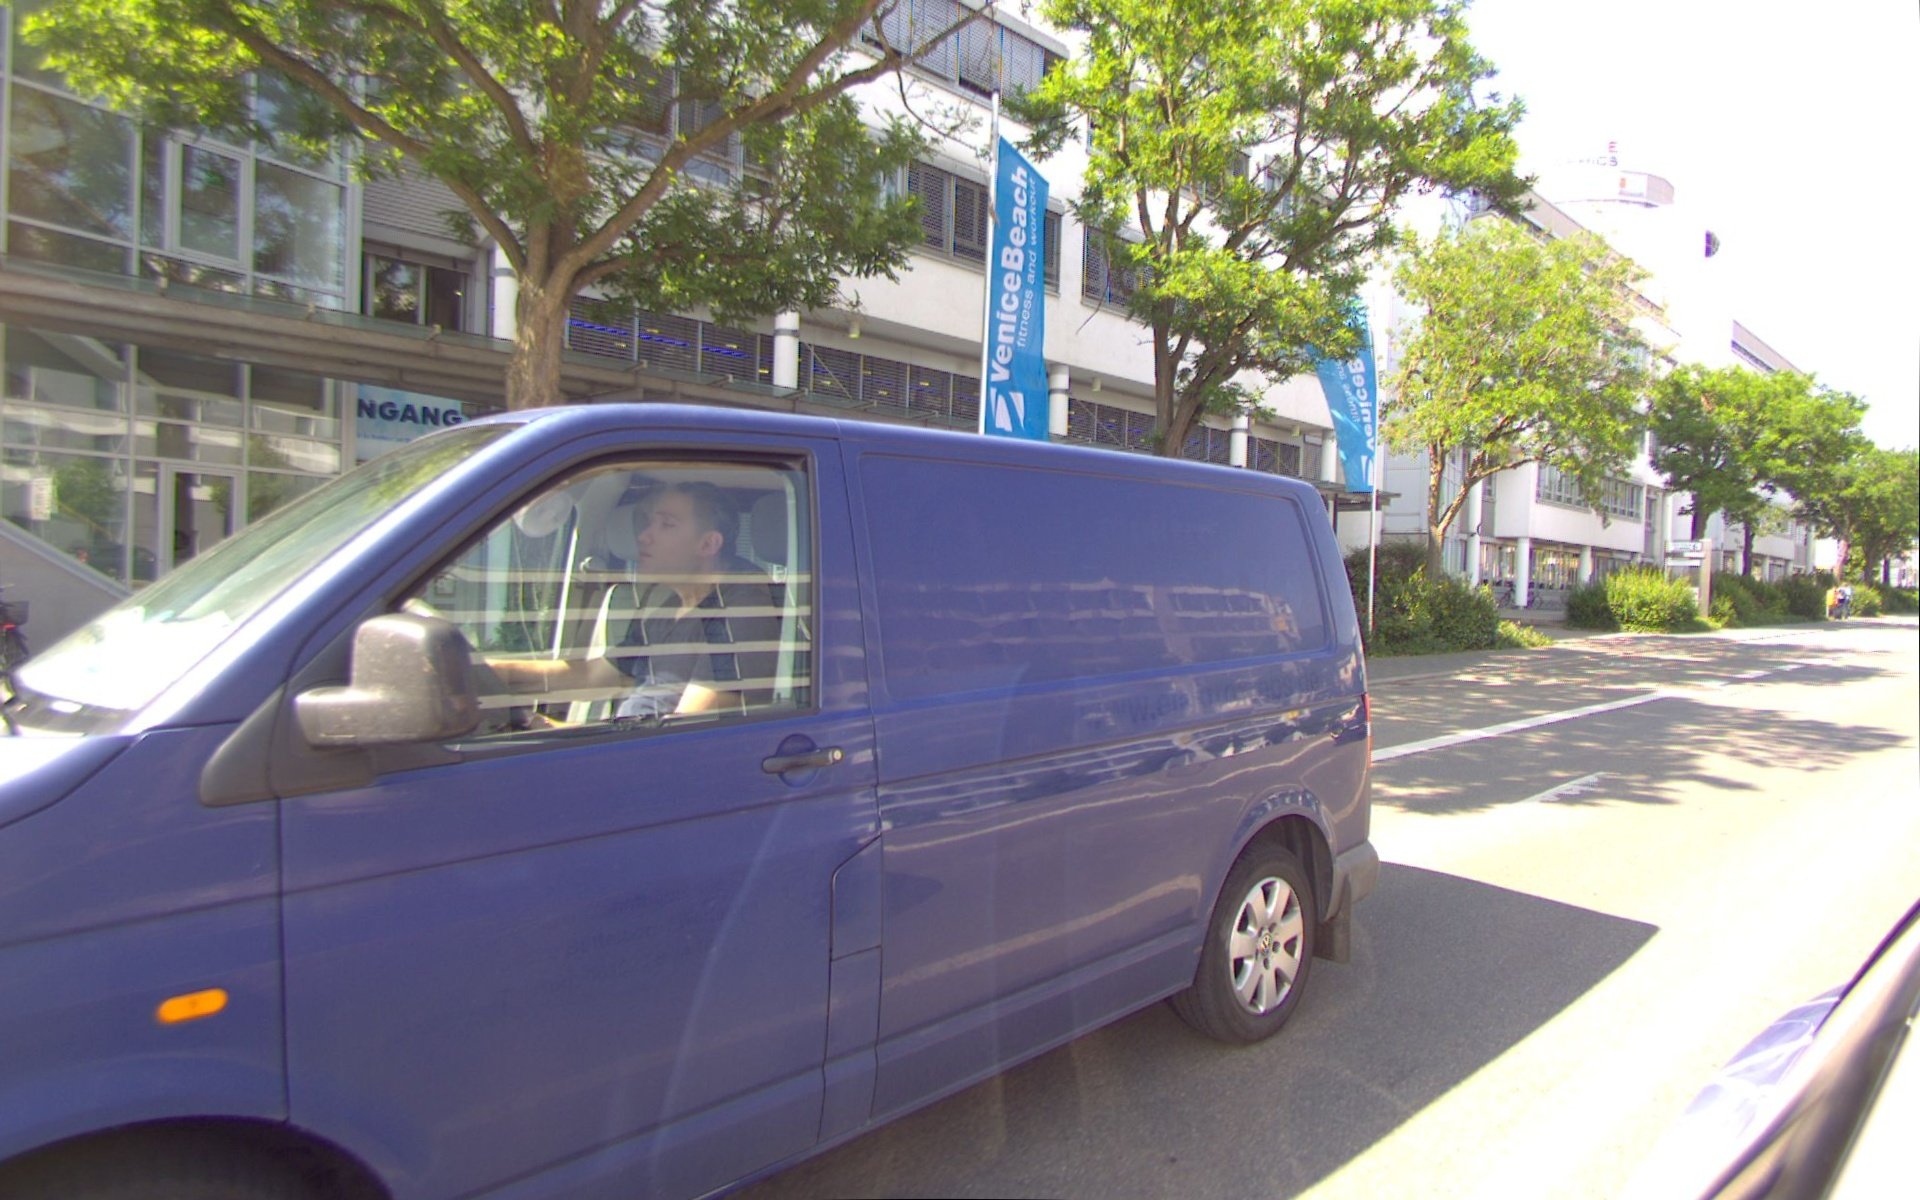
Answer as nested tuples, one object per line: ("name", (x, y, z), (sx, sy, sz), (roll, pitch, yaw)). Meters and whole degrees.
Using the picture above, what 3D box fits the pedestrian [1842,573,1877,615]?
("pedestrian", (42.555, -0.275, 47.894), (1.266, 1.909, 0.943), (0, 4, -40))

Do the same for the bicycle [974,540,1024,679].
("bicycle", (0.534, 0.108, 14.261), (0.401, 1.868, 1.399), (1, 1, -10))

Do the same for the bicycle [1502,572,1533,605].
("bicycle", (23.610, -0.501, 42.836), (1.851, 1.371, 0.506), (0, 2, -40))

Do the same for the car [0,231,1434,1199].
("car", (-0.670, 0.449, 3.116), (4.804, 1.971, 1.998), (-1, 2, -40))

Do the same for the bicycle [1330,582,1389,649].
("bicycle", (8.480, 0.302, 21.441), (0.504, 1.345, 1.856), (2, 2, 42))
